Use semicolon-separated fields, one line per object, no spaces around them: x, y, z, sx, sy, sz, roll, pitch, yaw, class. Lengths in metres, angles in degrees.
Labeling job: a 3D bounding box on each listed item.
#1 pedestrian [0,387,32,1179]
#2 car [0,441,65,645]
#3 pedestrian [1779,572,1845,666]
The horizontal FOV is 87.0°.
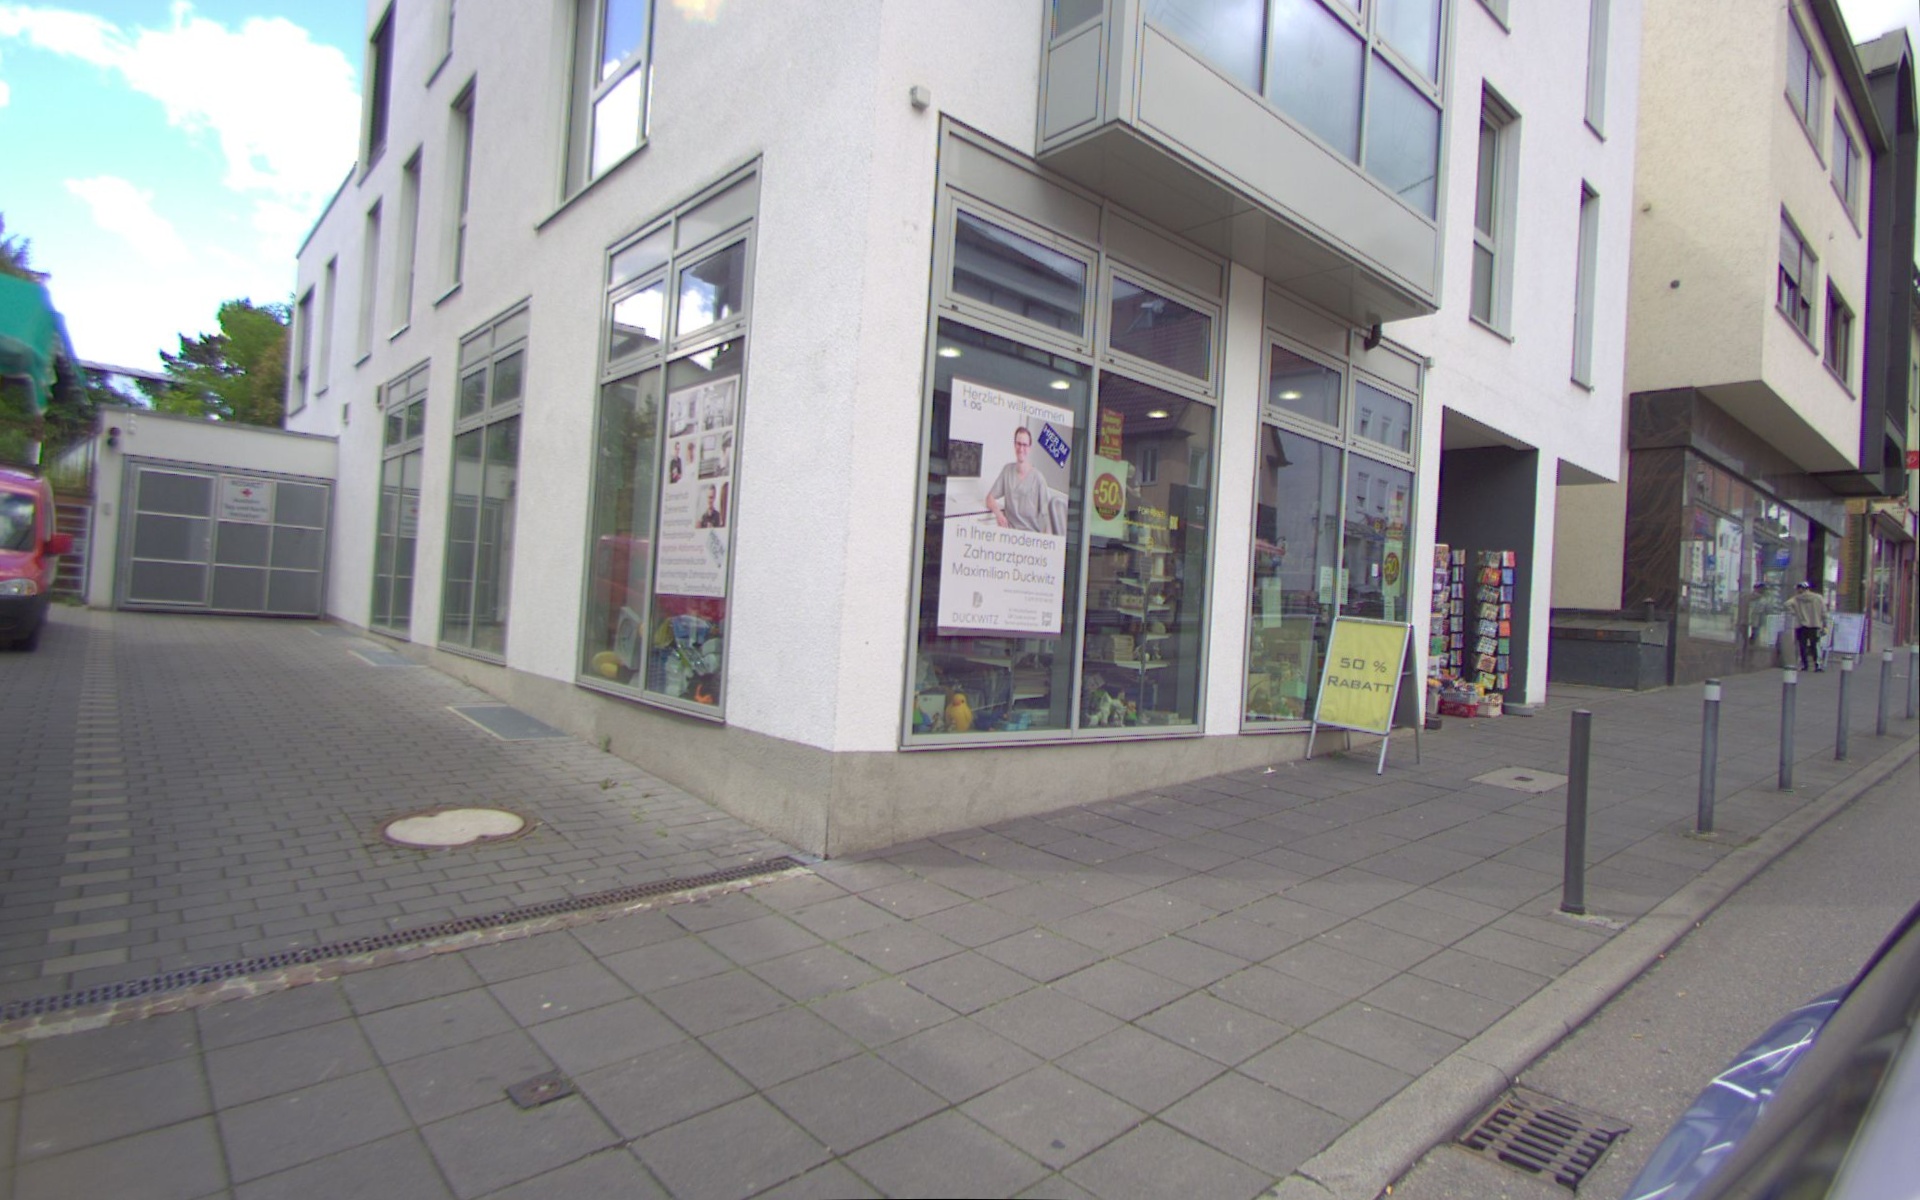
-2.389;0.423;1.960;0.612;1.789;0.704;1;1;-16;pedestrian
-10.578;-0.609;10.478;1.840;1.863;4.158;1;1;-40;car
16.174;0.348;19.213;0.767;1.693;0.759;0;4;-43;pedestrian
